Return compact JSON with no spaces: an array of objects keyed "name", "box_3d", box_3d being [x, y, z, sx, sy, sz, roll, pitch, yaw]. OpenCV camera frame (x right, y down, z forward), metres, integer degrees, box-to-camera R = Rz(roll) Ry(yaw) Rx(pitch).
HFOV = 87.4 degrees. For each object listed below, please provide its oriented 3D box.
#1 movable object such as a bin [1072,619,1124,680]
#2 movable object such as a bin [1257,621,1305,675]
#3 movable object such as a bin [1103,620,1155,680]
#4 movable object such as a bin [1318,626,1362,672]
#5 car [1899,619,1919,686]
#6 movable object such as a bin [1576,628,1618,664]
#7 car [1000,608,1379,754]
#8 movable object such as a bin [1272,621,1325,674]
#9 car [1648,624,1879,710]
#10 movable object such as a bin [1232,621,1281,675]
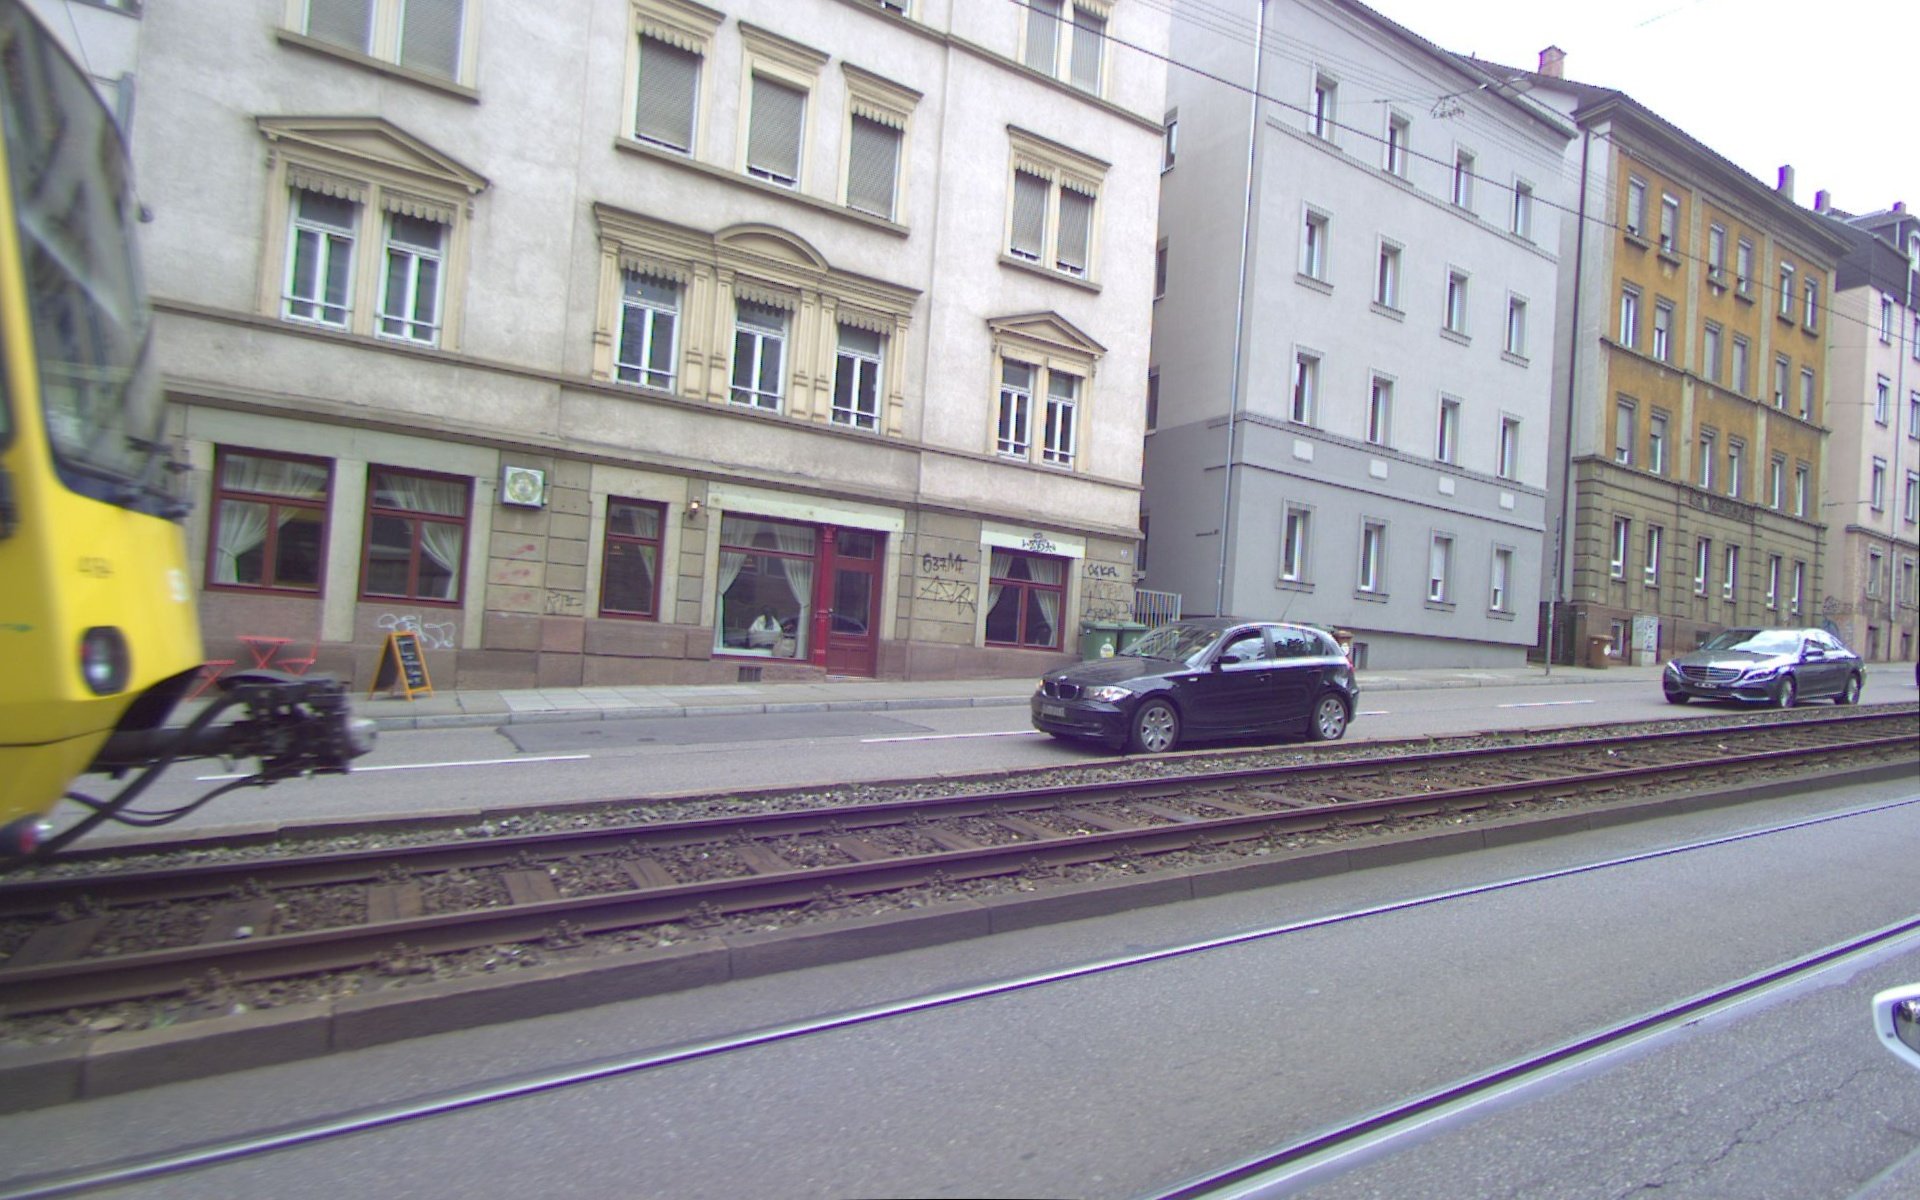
[{"name":"movable object such as a bin","box_3d":[2.569,0.916,18.691,0.669,1.088,0.683,1,0,-30]},{"name":"movable object such as a bin","box_3d":[6.747,1.003,21.127,0.599,1.088,0.739,1,0,-30]},{"name":"movable object such as a bin","box_3d":[3.198,0.931,19.016,0.673,1.088,0.714,1,0,-30]},{"name":"movable object such as a bin","box_3d":[8.425,1.081,22.299,0.669,0.998,0.619,1,0,-30]},{"name":"car","box_3d":[25.142,1.312,24.856,3.923,1.617,1.735,1,0,-31]},{"name":"movable object such as a bin","box_3d":[17.763,1.279,28.017,0.645,0.960,0.775,1,0,-30]},{"name":"car","box_3d":[2.670,0.822,11.494,4.114,1.382,1.821,1,0,-31]},{"name":"movable object such as a bin","box_3d":[7.241,1.012,21.487,0.689,1.088,0.821,1,0,-30]},{"name":"car","box_3d":[14.972,1.177,18.652,4.709,1.379,1.802,1,0,-31]},{"name":"movable object such as a bin","box_3d":[6.155,0.991,20.860,0.663,1.088,0.724,1,0,-30]}]
